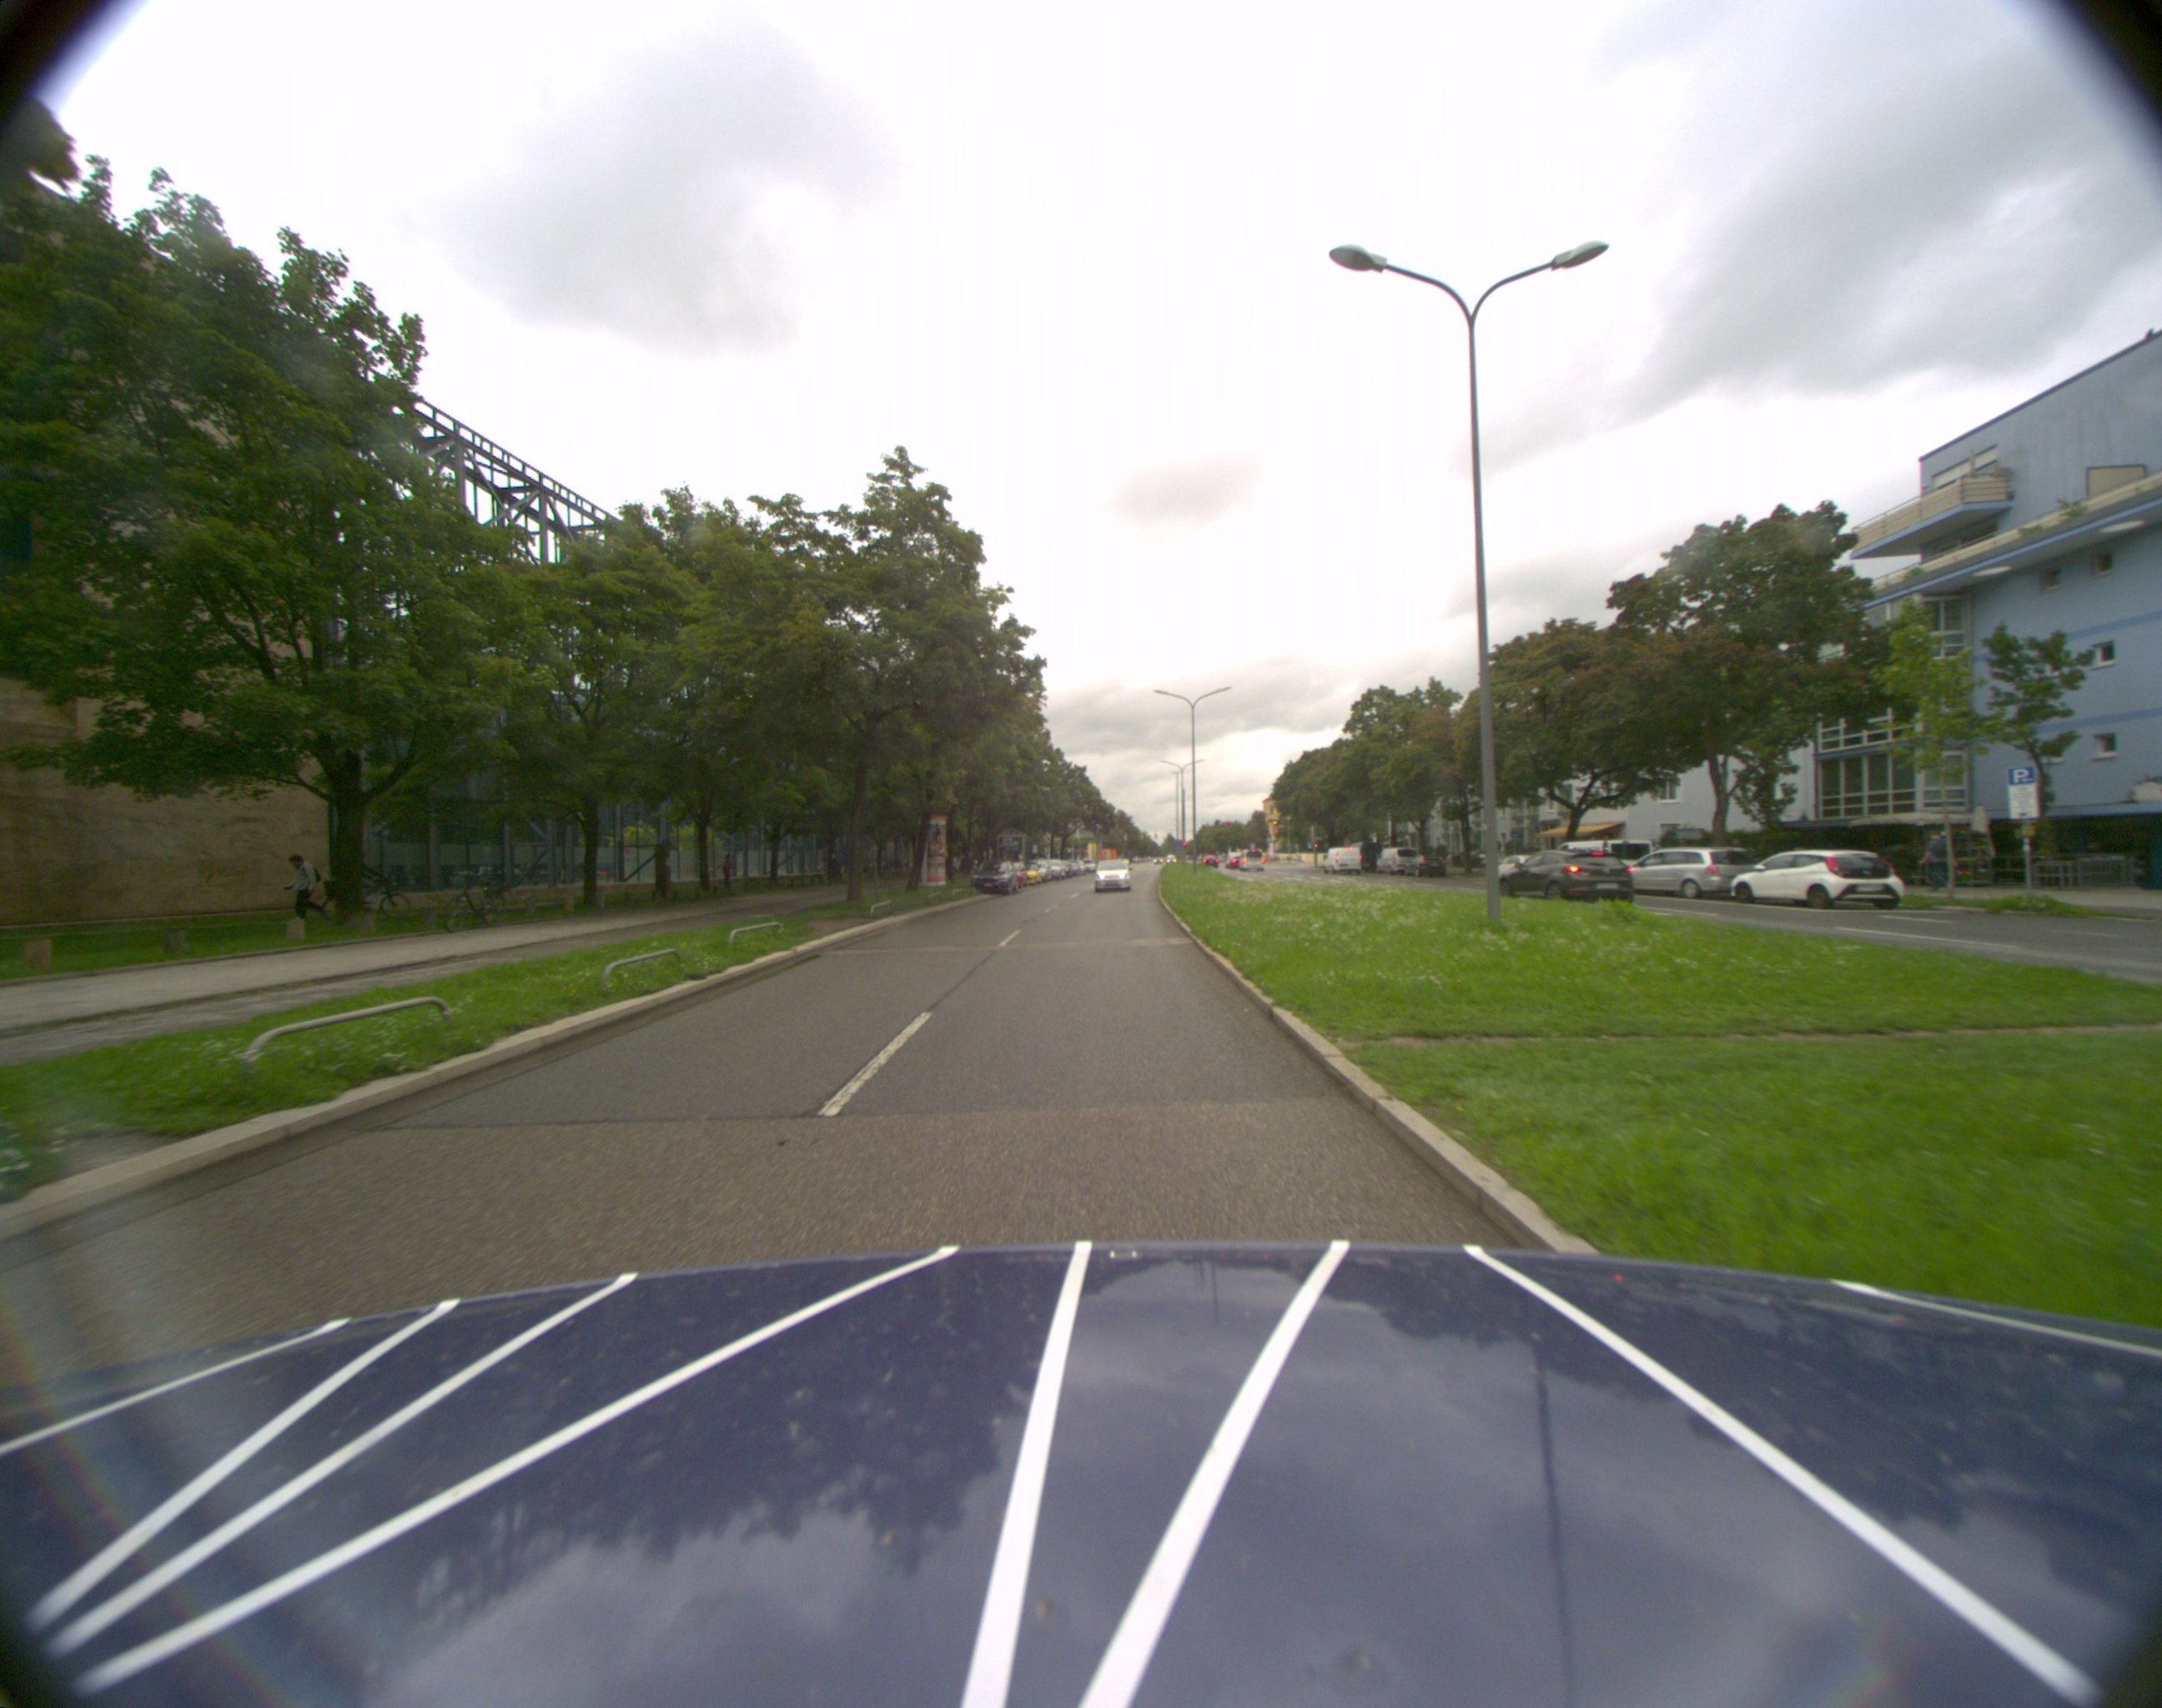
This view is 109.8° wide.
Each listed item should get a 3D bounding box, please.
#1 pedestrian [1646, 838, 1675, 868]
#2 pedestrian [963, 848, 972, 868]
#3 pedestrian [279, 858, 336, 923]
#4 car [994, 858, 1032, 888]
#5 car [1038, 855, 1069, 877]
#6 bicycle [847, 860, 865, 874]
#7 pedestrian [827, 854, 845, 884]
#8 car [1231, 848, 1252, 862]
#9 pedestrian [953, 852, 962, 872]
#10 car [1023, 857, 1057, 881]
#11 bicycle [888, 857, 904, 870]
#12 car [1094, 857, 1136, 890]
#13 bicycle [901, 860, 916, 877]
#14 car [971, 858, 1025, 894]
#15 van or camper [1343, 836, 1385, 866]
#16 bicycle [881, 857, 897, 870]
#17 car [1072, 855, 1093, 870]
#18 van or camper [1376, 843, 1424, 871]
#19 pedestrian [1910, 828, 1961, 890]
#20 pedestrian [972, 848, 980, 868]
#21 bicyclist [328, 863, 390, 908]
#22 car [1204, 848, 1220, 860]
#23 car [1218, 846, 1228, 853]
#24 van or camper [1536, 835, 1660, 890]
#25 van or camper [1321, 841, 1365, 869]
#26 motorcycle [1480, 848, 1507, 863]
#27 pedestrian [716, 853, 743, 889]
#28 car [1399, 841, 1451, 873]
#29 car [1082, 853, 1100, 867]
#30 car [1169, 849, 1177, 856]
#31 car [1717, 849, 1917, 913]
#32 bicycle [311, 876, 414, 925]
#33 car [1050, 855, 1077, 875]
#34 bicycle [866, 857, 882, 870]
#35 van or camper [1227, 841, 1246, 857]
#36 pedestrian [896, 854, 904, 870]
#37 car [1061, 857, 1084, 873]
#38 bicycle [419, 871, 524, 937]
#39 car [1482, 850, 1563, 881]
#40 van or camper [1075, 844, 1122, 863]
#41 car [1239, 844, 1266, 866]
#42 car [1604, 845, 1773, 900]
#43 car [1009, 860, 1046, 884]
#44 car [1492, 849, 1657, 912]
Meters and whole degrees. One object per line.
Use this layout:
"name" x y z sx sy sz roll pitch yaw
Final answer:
"pedestrian" 30.711 -0.059 40.295 0.768 1.593 0.974 -1 1 -19
"pedestrian" -9.835 0.369 65.781 0.612 1.680 0.612 1 2 2
"pedestrian" -20.190 0.942 19.852 0.571 1.636 0.880 0 1 27
"car" -3.726 1.017 42.315 1.554 1.564 3.625 -1 1 3
"car" -2.021 0.904 57.140 1.682 1.522 4.097 -1 1 7
"bicycle" -17.095 0.972 57.737 0.571 0.935 2.064 -1 1 4
"pedestrian" -13.547 0.831 42.057 0.738 1.636 0.645 1 2 6
"car" 16.849 0.121 79.765 1.795 1.440 3.673 -1 1 7
"pedestrian" -10.258 0.675 63.183 0.612 1.632 0.434 1 2 3
"car" -2.764 0.987 51.811 1.626 1.466 3.897 -1 1 7
"bicycle" -14.458 0.726 59.359 0.512 0.935 2.142 -1 0 4
"car" 1.657 0.870 35.495 1.678 1.434 3.736 -1 1 7
"bicycle" -13.510 1.120 59.442 0.512 1.186 2.142 -1 1 4
"car" -4.012 1.021 37.447 1.865 1.581 4.604 -1 1 3
"van or camper" 24.237 -0.282 65.313 2.054 2.472 5.550 -1 1 5
"bicycle" -14.995 0.756 59.327 0.512 0.935 2.142 -1 0 4
"car" 0.162 0.792 73.891 1.589 1.395 3.736 -1 1 7
"van or camper" 23.377 0.171 55.844 2.025 1.931 4.706 -1 1 7
"pedestrian" 25.343 0.154 22.540 0.643 1.795 0.780 -1 1 8
"pedestrian" -9.087 0.380 65.659 0.528 1.713 0.660 1 2 2
"bicyclist" -18.546 0.793 19.535 0.725 1.123 0.961 0 1 30
"car" 15.568 -0.003 90.359 1.760 1.440 3.673 -1 1 7
"car" 36.574 -1.166 195.331 2.144 1.878 4.001 -1 1 5
"van or camper" 20.276 0.293 30.103 1.808 1.956 5.213 -1 1 6
"van or camper" 19.679 0.071 57.315 2.020 2.004 5.200 -1 1 6
"motorcycle" 31.848 0.109 58.689 1.813 1.164 0.464 -1 1 2
"pedestrian" -16.513 0.804 35.697 0.737 1.636 0.864 1 2 21
"car" 22.504 0.163 49.866 1.800 1.986 4.548 -1 1 7
"car" 1.168 0.619 84.647 1.589 1.495 3.736 -1 1 7
"car" 18.936 -0.347 155.887 1.589 1.259 3.736 -1 1 7
"car" 19.079 0.627 19.965 1.651 1.481 3.903 -1 1 4
"bicycle" -18.503 1.174 19.610 0.725 1.123 1.770 0 1 30
"car" -1.436 0.869 62.305 1.682 1.497 3.736 -1 1 7
"bicycle" -15.907 0.733 58.381 0.618 0.935 1.763 -1 0 4
"van or camper" 18.022 -0.546 88.194 1.795 1.787 4.126 -1 1 7
"pedestrian" -14.035 0.602 58.802 0.506 1.173 0.426 1 2 6
"car" -0.751 0.932 67.778 1.589 1.310 3.736 -1 1 7
"bicycle" -12.701 1.011 15.921 0.622 1.243 1.920 -1 1 0
"car" 21.005 0.496 36.341 1.679 1.386 4.336 -1 1 5
"van or camper" 3.446 -0.183 144.181 3.314 3.533 10.918 -1 0 35
"car" 15.913 0.073 70.584 1.943 1.986 4.706 -1 1 7
"car" 19.568 0.517 24.798 1.703 1.606 4.663 -1 1 -2
"car" -3.256 1.069 47.025 1.626 1.373 4.196 0 1 4
"car" 12.757 0.609 20.014 1.961 1.471 4.261 -1 0 7
